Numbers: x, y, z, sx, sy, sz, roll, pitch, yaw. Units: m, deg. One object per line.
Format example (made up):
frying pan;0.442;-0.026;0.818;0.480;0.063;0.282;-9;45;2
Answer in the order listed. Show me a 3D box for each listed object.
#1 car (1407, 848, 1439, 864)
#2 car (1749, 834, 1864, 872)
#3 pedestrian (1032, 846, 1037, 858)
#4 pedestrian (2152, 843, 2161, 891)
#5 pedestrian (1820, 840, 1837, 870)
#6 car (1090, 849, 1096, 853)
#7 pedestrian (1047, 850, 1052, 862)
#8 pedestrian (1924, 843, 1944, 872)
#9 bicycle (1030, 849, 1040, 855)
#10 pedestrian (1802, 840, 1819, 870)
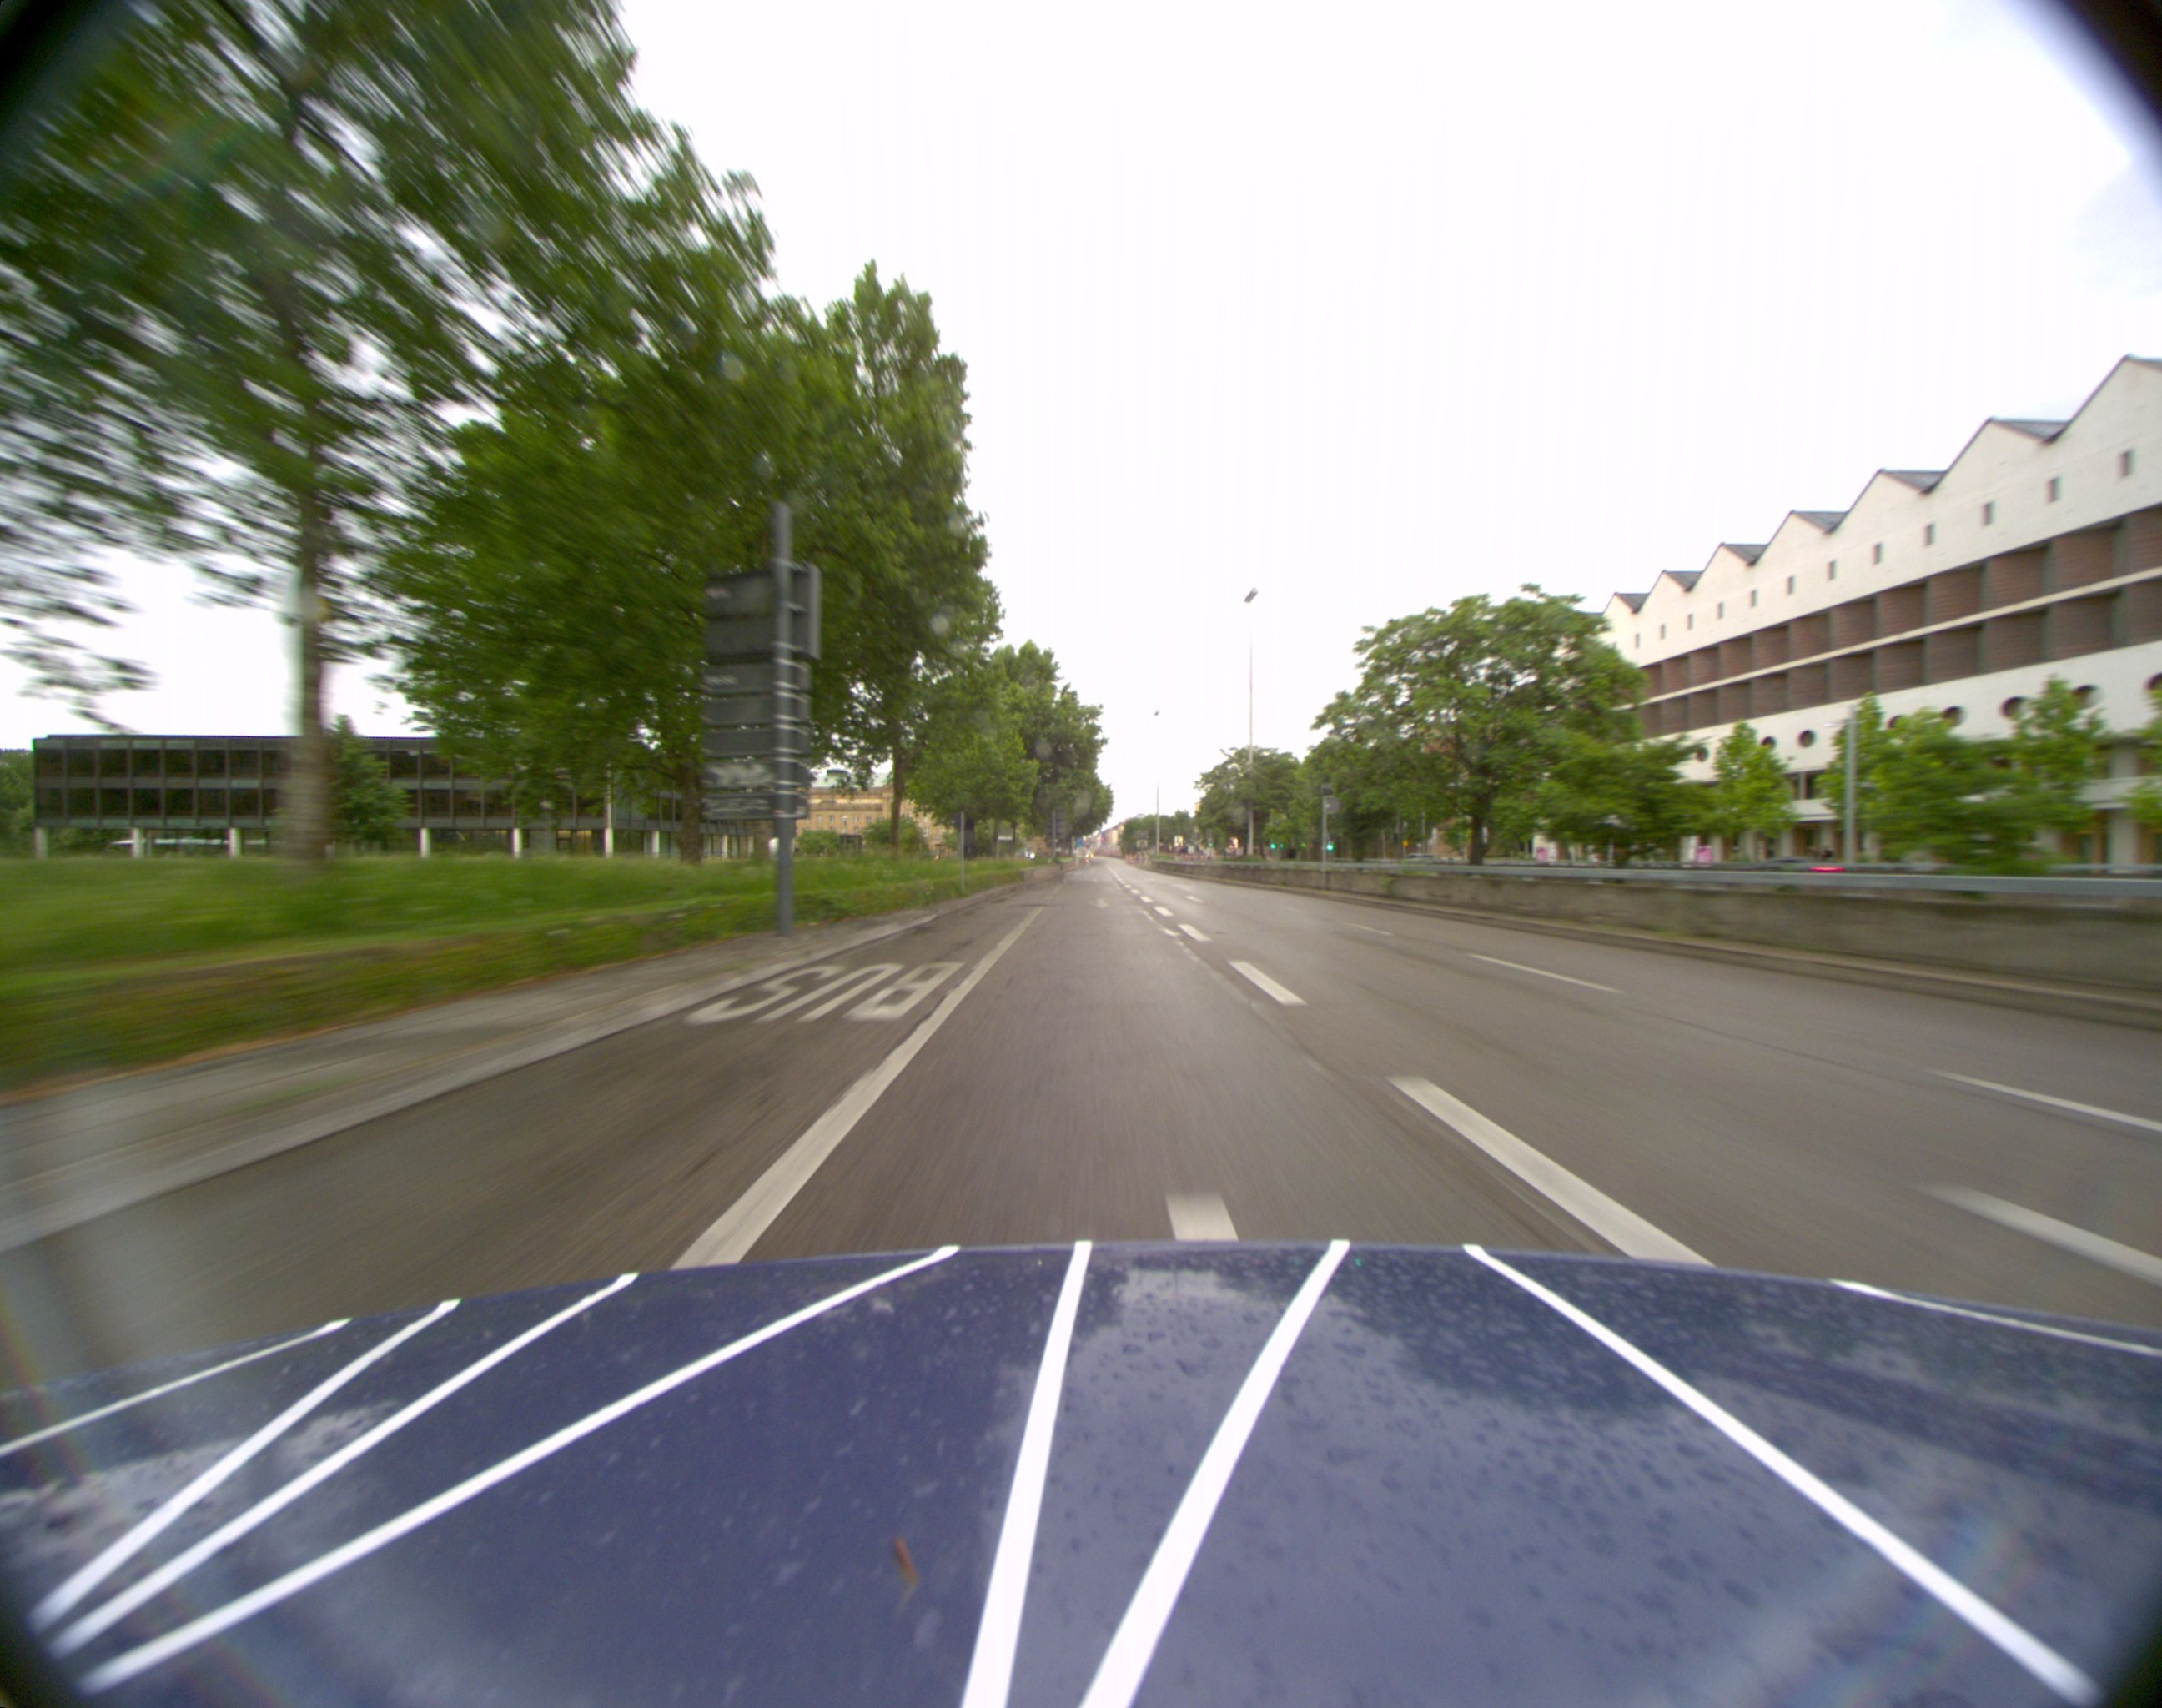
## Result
car;29.604;0.162;65.816;1.298;1.270;2.821;-2;1;-5
car;32.032;-0.053;33.679;1.699;1.547;3.474;-2;1;-3
pedestrian;-7.014;-0.308;114.253;0.671;1.655;0.587;0;2;-16
pedestrian;42.829;0.491;29.606;1.088;1.855;0.829;-2;1;-4
pedestrian;47.580;0.063;48.394;0.738;1.848;0.703;0;2;42
car;3.323;-0.870;217.159;1.517;1.138;2.761;-2;1;3
pedestrian;-5.014;0.325;119.622;0.594;1.764;0.587;-1;1;8
pedestrian;49.000;0.187;43.653;0.742;1.618;0.700;-3;2;-37
bicycle;-8.453;-0.422;139.329;1.758;1.059;0.827;-2;1;-19
pedestrian;46.981;0.064;48.938;0.738;1.848;0.703;0;2;42
